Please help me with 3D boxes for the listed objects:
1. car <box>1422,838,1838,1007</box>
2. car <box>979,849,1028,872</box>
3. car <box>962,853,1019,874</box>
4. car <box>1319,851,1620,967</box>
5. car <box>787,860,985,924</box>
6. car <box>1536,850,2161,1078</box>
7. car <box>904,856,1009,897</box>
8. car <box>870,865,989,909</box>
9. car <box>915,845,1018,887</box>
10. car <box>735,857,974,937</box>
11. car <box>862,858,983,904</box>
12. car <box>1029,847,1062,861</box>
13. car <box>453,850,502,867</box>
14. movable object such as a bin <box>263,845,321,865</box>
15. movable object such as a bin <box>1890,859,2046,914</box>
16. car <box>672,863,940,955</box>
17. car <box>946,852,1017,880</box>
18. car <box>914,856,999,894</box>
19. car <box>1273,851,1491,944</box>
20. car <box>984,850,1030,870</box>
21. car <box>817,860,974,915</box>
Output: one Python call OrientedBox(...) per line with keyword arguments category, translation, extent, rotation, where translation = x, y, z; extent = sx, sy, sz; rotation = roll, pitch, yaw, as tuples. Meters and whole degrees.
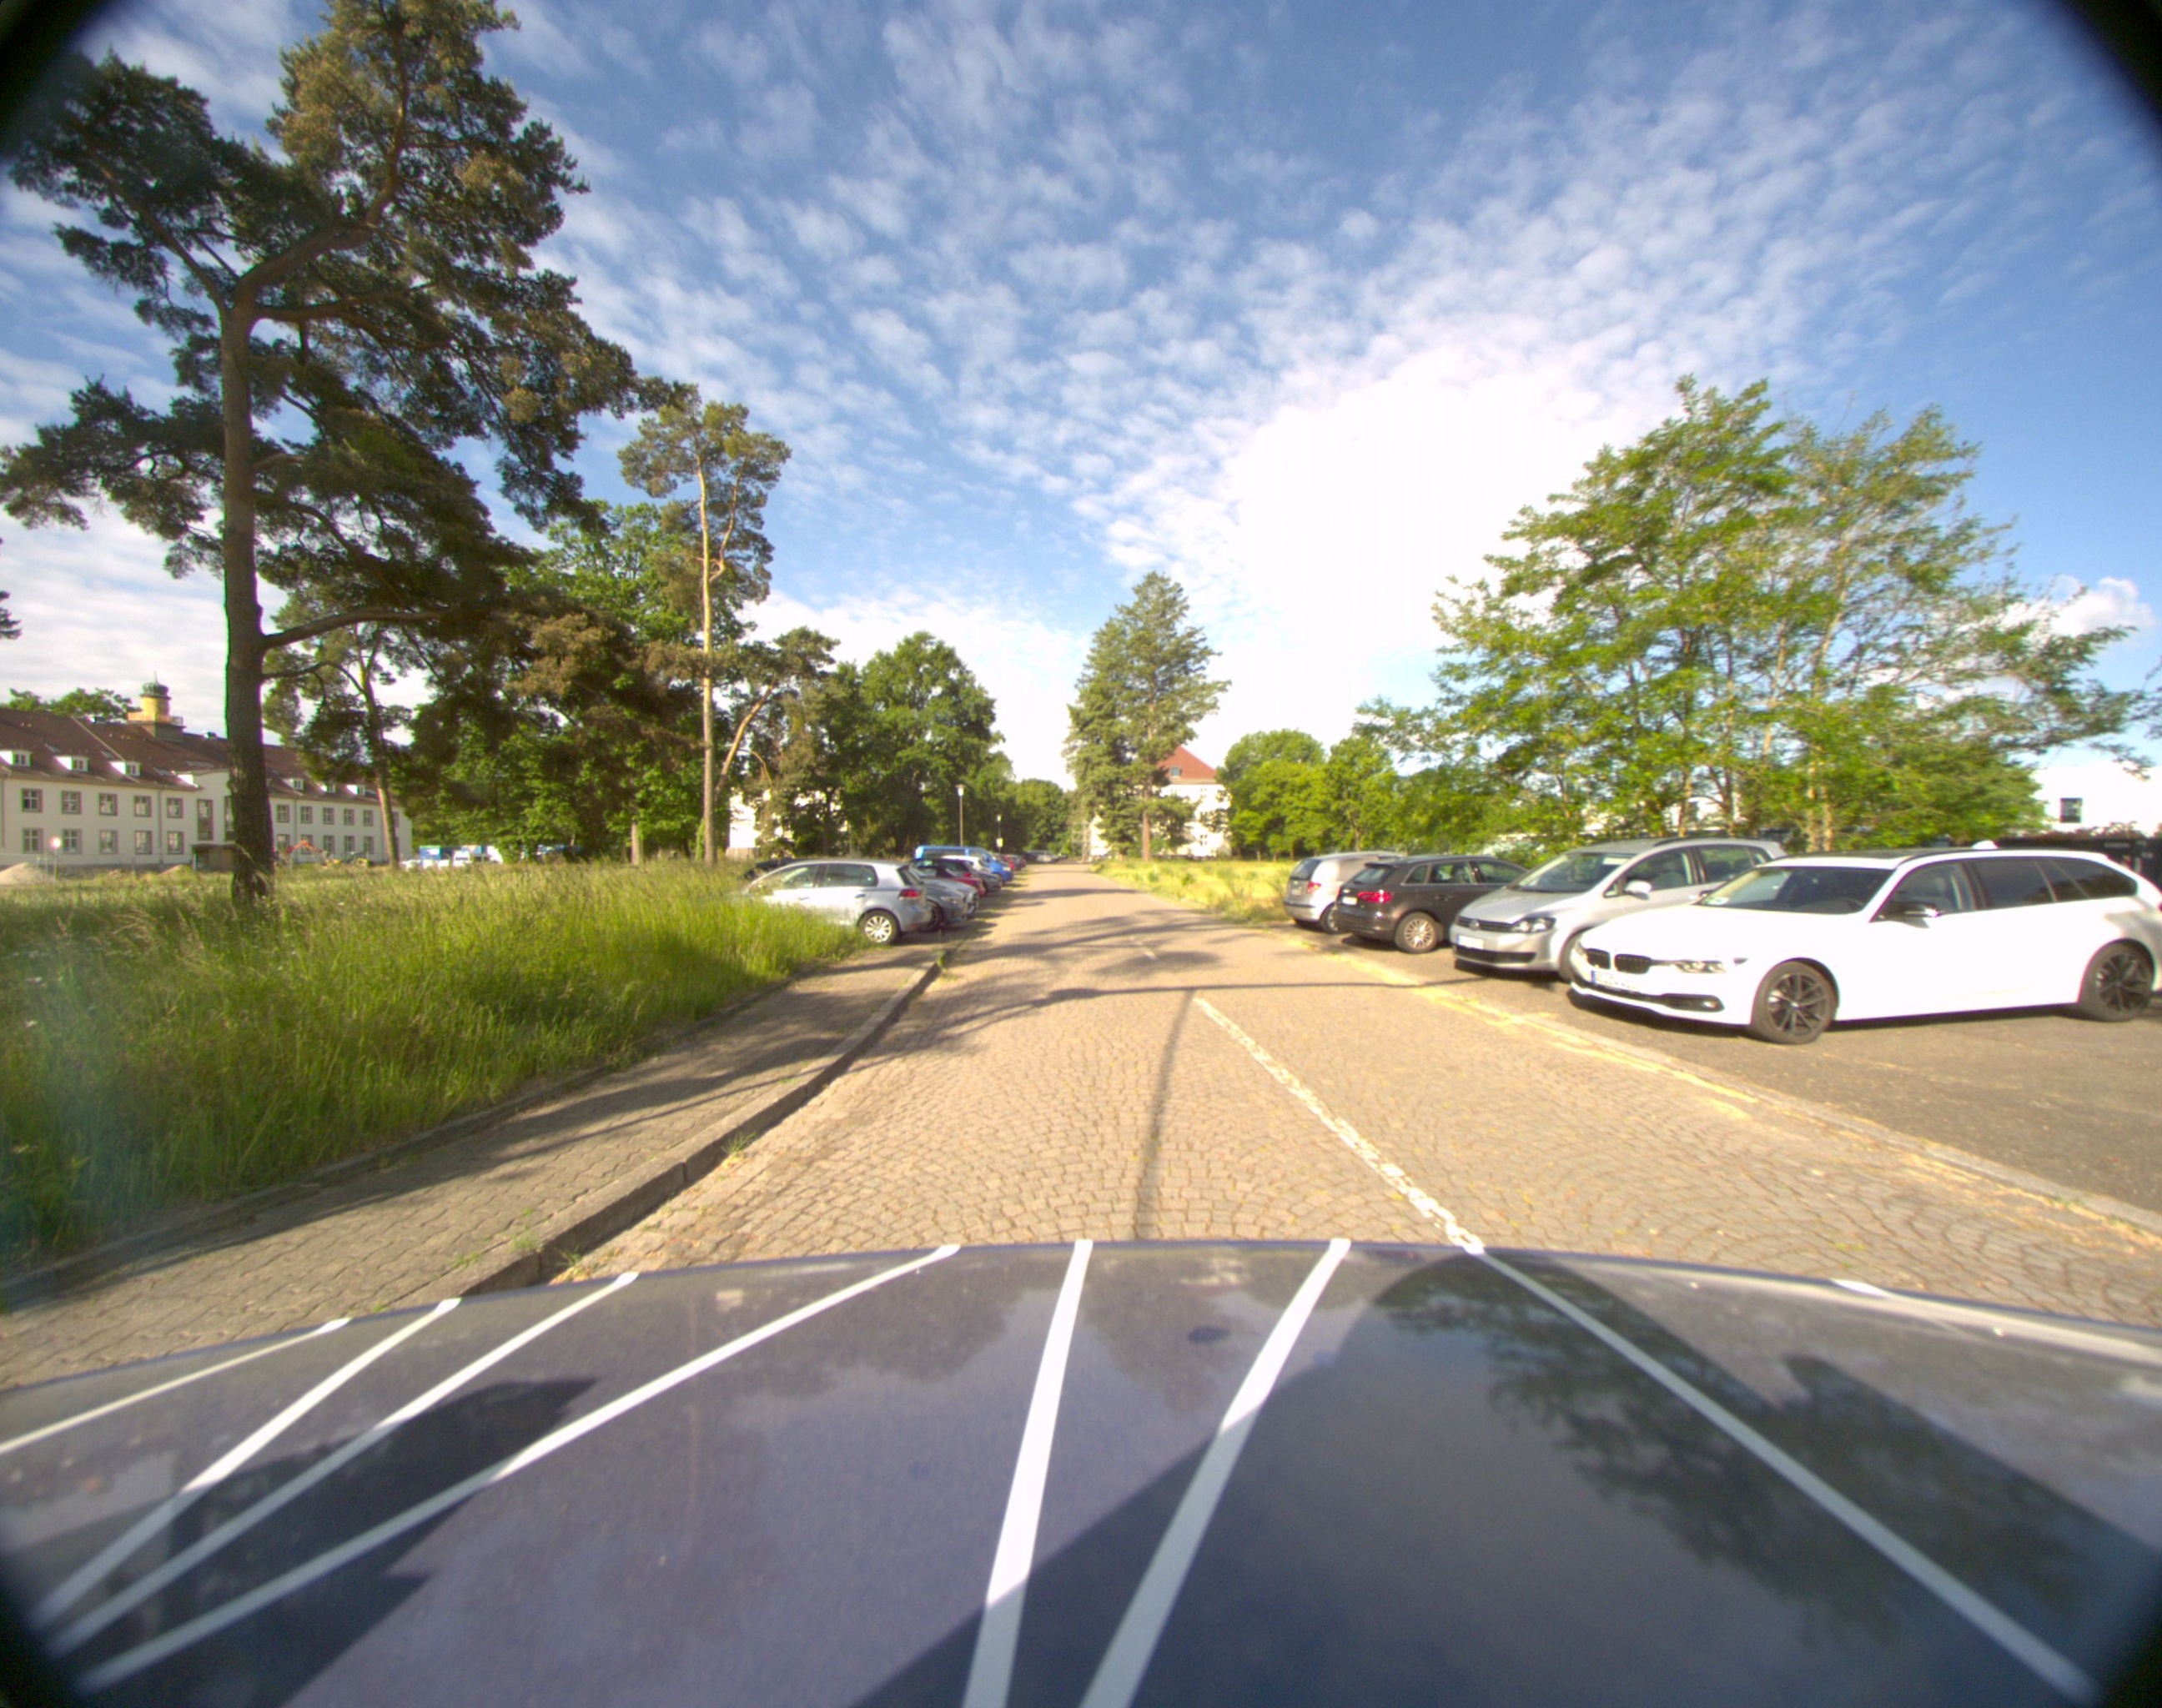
OrientedBox(category="car", translation=(6.518, 0.727, 9.243), extent=(3.956, 1.616, 1.721), rotation=(-3, 1, -7))
OrientedBox(category="car", translation=(-6.761, 0.524, 66.451), extent=(3.997, 1.731, 1.756), rotation=(-3, 2, 1))
OrientedBox(category="car", translation=(-6.656, 0.670, 56.264), extent=(3.997, 1.509, 1.756), rotation=(0, 1, 1))
OrientedBox(category="car", translation=(5.940, 0.789, 11.895), extent=(3.807, 1.462, 1.687), rotation=(-3, 1, -3))
OrientedBox(category="car", translation=(-4.654, 0.894, 18.651), extent=(4.424, 1.394, 1.825), rotation=(1, 1, -3))
OrientedBox(category="car", translation=(6.773, 0.811, 6.685), extent=(4.554, 1.459, 1.751), rotation=(-3, 1, -5))
OrientedBox(category="car", translation=(-4.689, 0.847, 28.793), extent=(3.621, 1.482, 1.508), rotation=(0, 1, 7))
OrientedBox(category="car", translation=(-4.563, 0.985, 23.167), extent=(3.357, 1.248, 1.419), rotation=(0, 1, -3))
OrientedBox(category="car", translation=(-5.488, 0.562, 37.002), extent=(4.727, 2.002, 2.000), rotation=(0, 1, -1))
OrientedBox(category="car", translation=(-4.549, 0.863, 15.866), extent=(4.508, 1.508, 1.825), rotation=(1, 1, -6))
OrientedBox(category="car", translation=(-5.306, 0.892, 25.762), extent=(3.780, 1.482, 1.548), rotation=(0, 1, -3))
OrientedBox(category="car", translation=(-5.596, -0.037, 119.981), extent=(5.069, 2.251, 1.999), rotation=(0, 1, -2))
OrientedBox(category="car", translation=(-71.760, 0.508, 90.466), extent=(1.999, 2.002, 4.771), rotation=(0, 0, -1))
OrientedBox(category="movable object such as a bin", translation=(-93.866, 0.103, 90.462), extent=(1.999, 2.309, 4.984), rotation=(0, 0, -6))
OrientedBox(category="movable object such as a bin", translation=(18.947, 0.671, 16.266), extent=(2.285, 1.101, 0.997), rotation=(0, 1, -4))
OrientedBox(category="car", translation=(-4.625, 0.916, 13.297), extent=(4.027, 1.452, 1.870), rotation=(0, 1, -3))
OrientedBox(category="car", translation=(-5.965, 0.720, 45.926), extent=(3.997, 1.630, 1.756), rotation=(0, 1, 1))
OrientedBox(category="car", translation=(-5.151, 0.855, 31.629), extent=(3.265, 1.482, 1.449), rotation=(0, 1, 0))
OrientedBox(category="car", translation=(5.698, 0.782, 14.610), extent=(3.475, 1.462, 1.635), rotation=(-3, 1, -5))
OrientedBox(category="car", translation=(-6.879, 0.571, 71.138), extent=(3.996, 1.606, 1.756), rotation=(-3, 2, 2))
OrientedBox(category="car", translation=(-4.995, 0.900, 20.868), extent=(3.919, 1.385, 1.660), rotation=(1, 1, -3))
